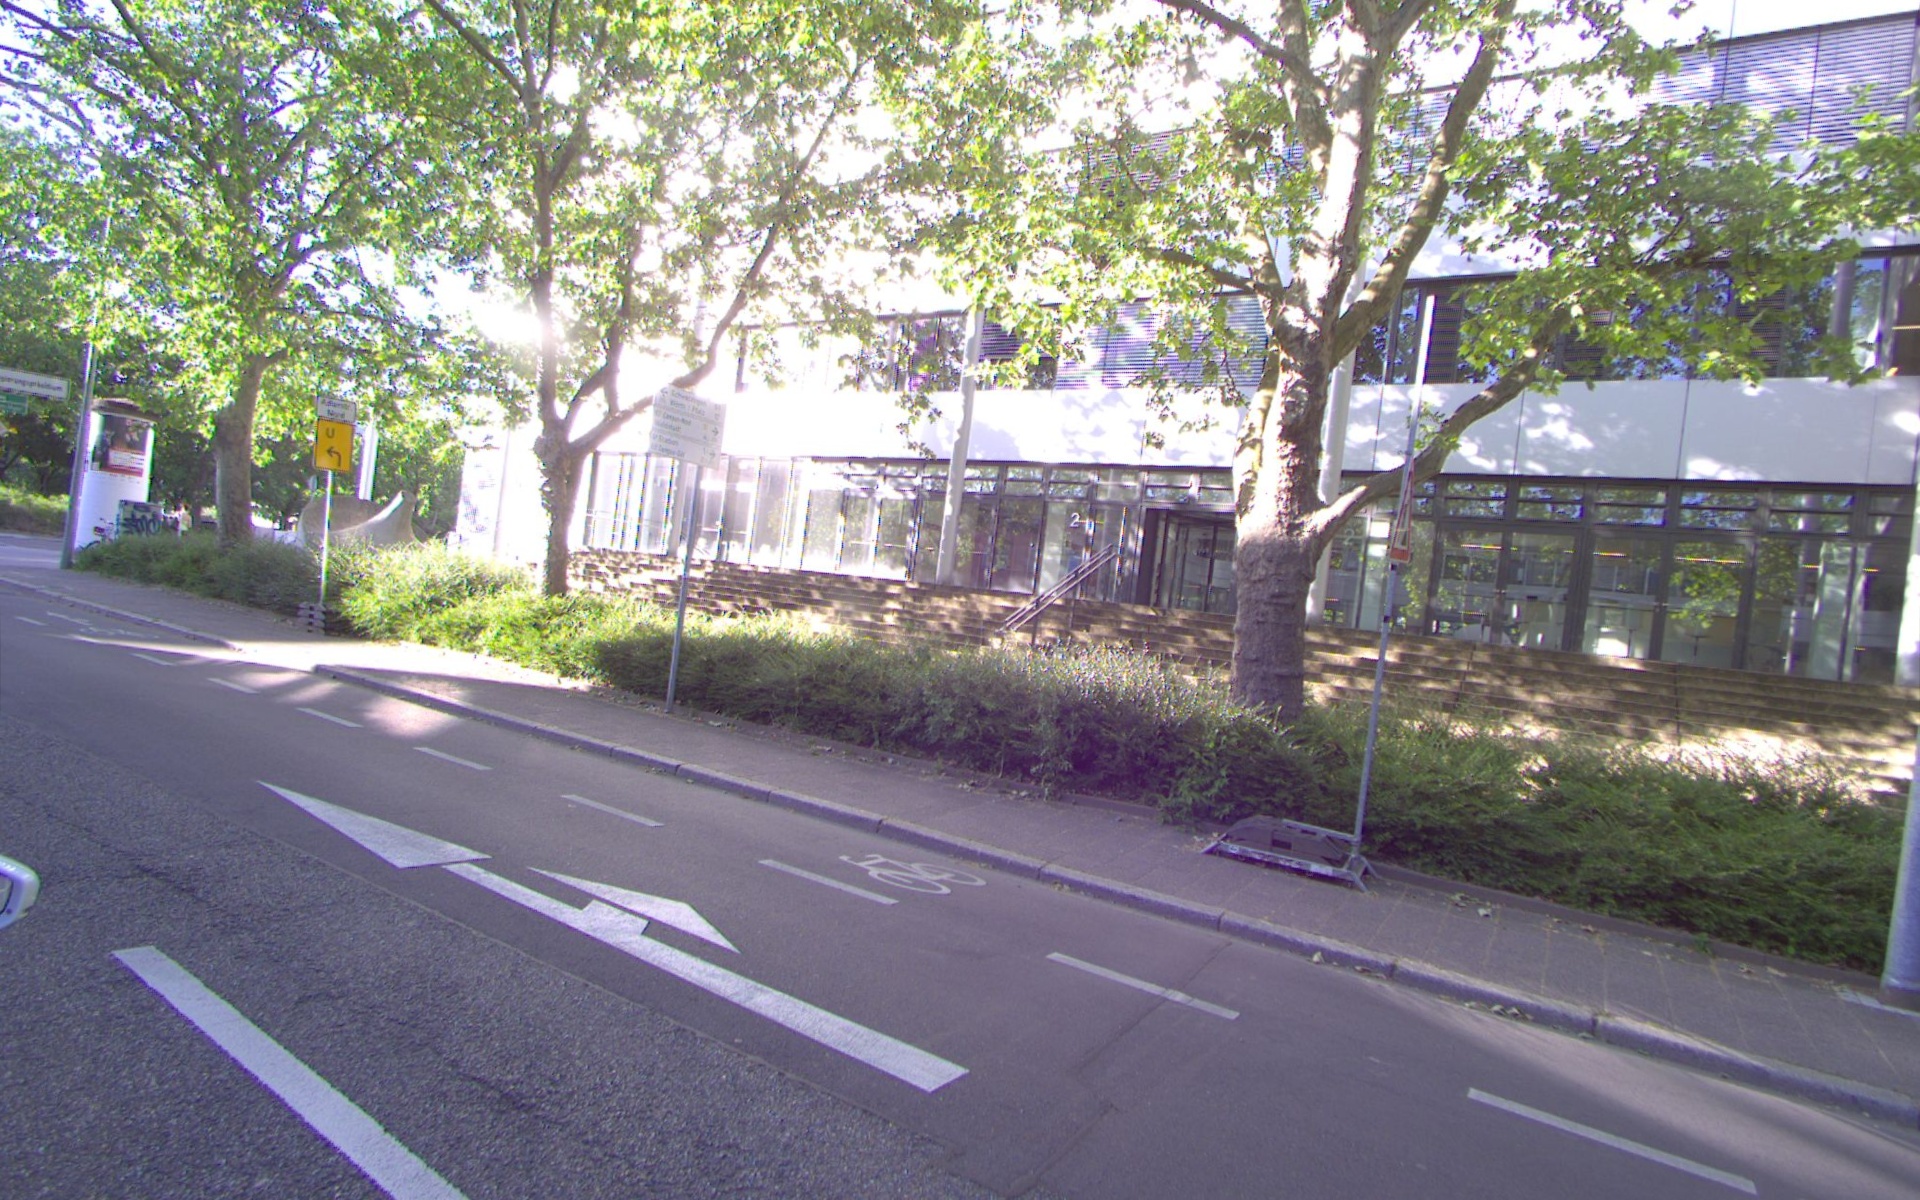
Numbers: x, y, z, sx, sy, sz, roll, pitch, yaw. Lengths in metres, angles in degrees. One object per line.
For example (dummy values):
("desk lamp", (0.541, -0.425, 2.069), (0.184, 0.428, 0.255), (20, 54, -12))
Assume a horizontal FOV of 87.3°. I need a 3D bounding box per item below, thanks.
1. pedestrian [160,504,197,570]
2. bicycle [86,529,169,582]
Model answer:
("pedestrian", (-23.495, -1.892, 30.231), (0.584, 1.871, 0.552), (7, 0, 33))
("bicycle", (-19.229, -1.007, 23.259), (0.357, 1.036, 1.354), (7, -1, 33))
